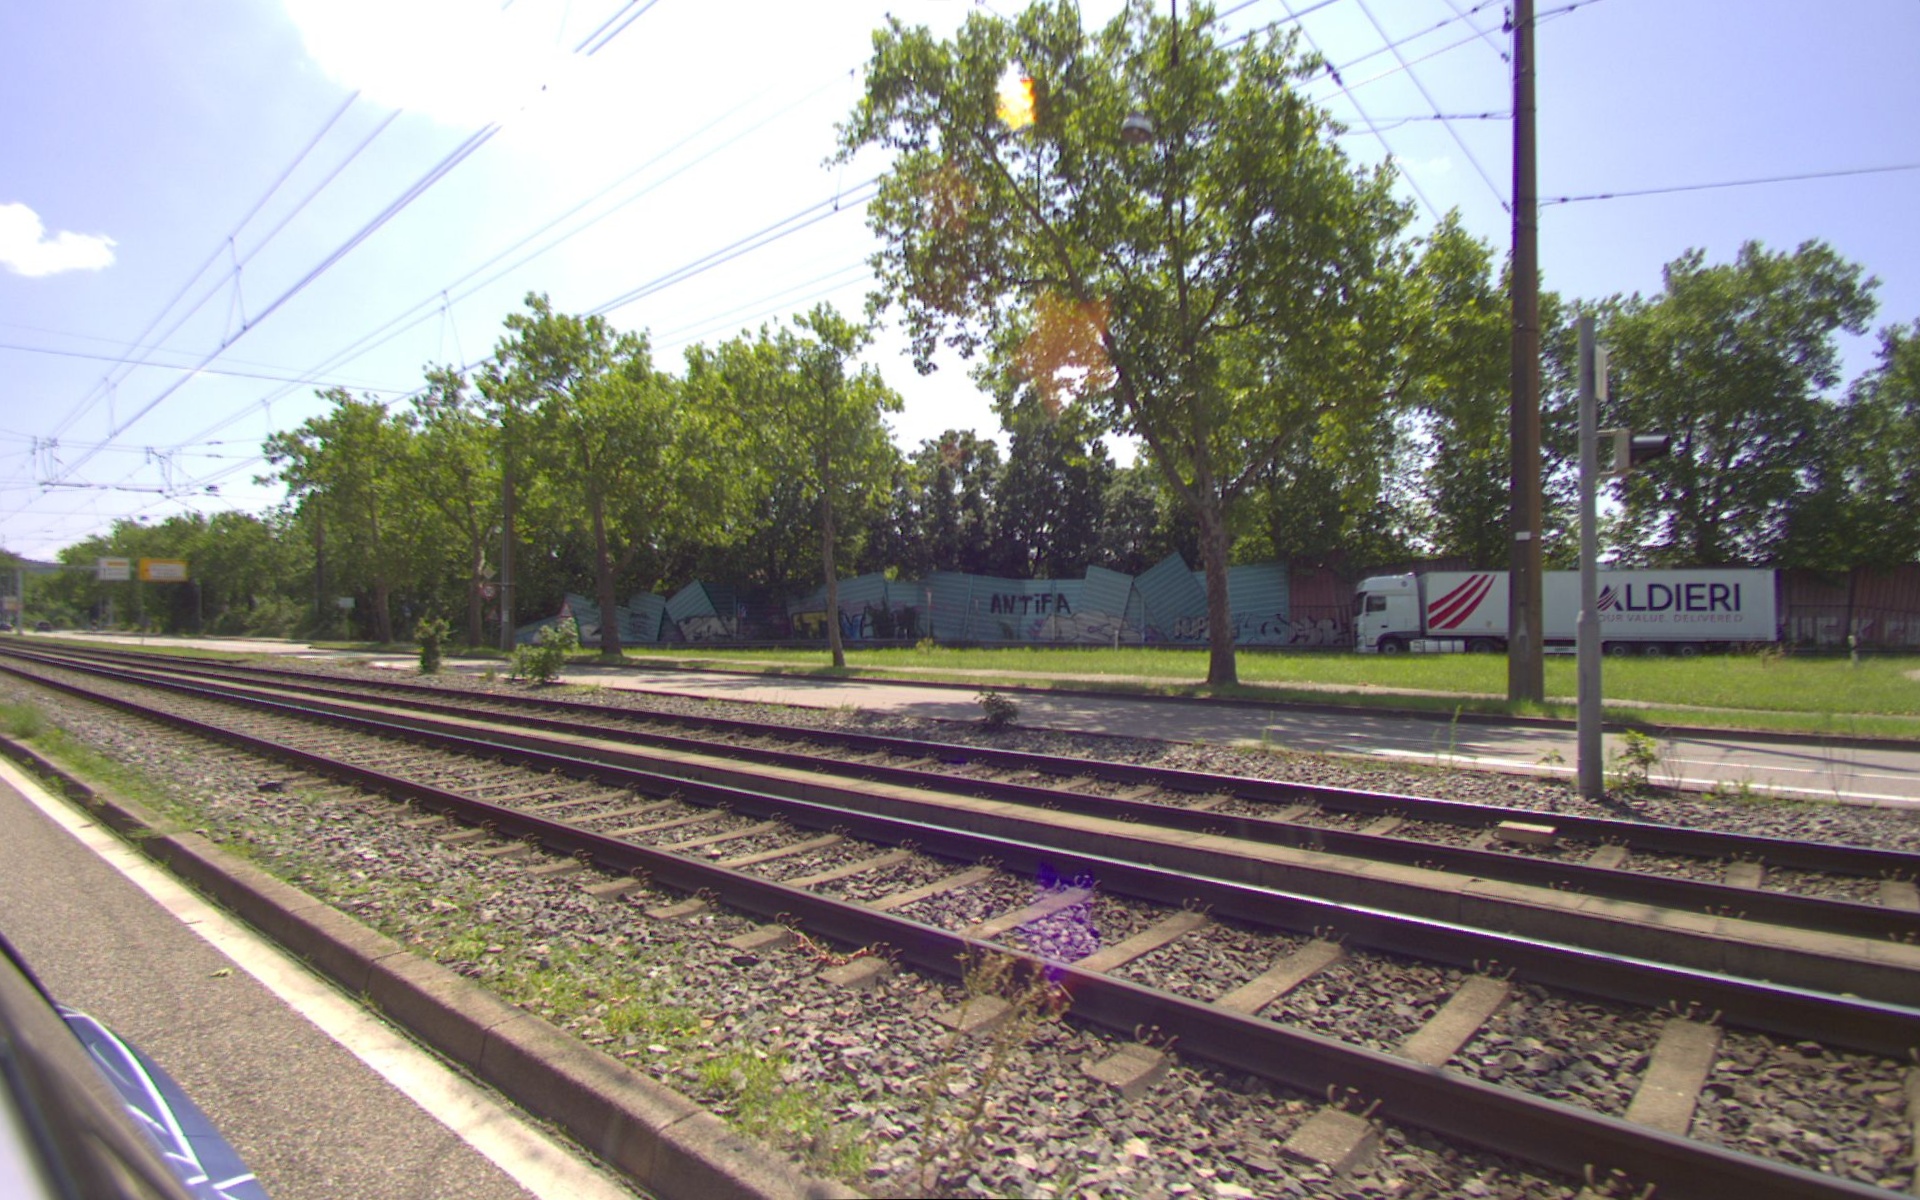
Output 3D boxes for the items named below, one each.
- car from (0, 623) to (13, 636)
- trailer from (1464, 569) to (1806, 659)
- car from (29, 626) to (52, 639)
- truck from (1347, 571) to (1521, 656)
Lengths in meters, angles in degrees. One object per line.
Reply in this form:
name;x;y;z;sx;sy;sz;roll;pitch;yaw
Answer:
car;-143.664;4.444;151.824;3.998;1.807;1.973;-1;0;41
trailer;29.294;0.660;44.797;12.000;3.683;3.371;-1;-2;16
car;-133.525;4.660;146.930;3.998;1.807;1.973;-1;0;41
truck;21.762;0.677;46.935;6.698;3.730;3.401;-1;-2;16
